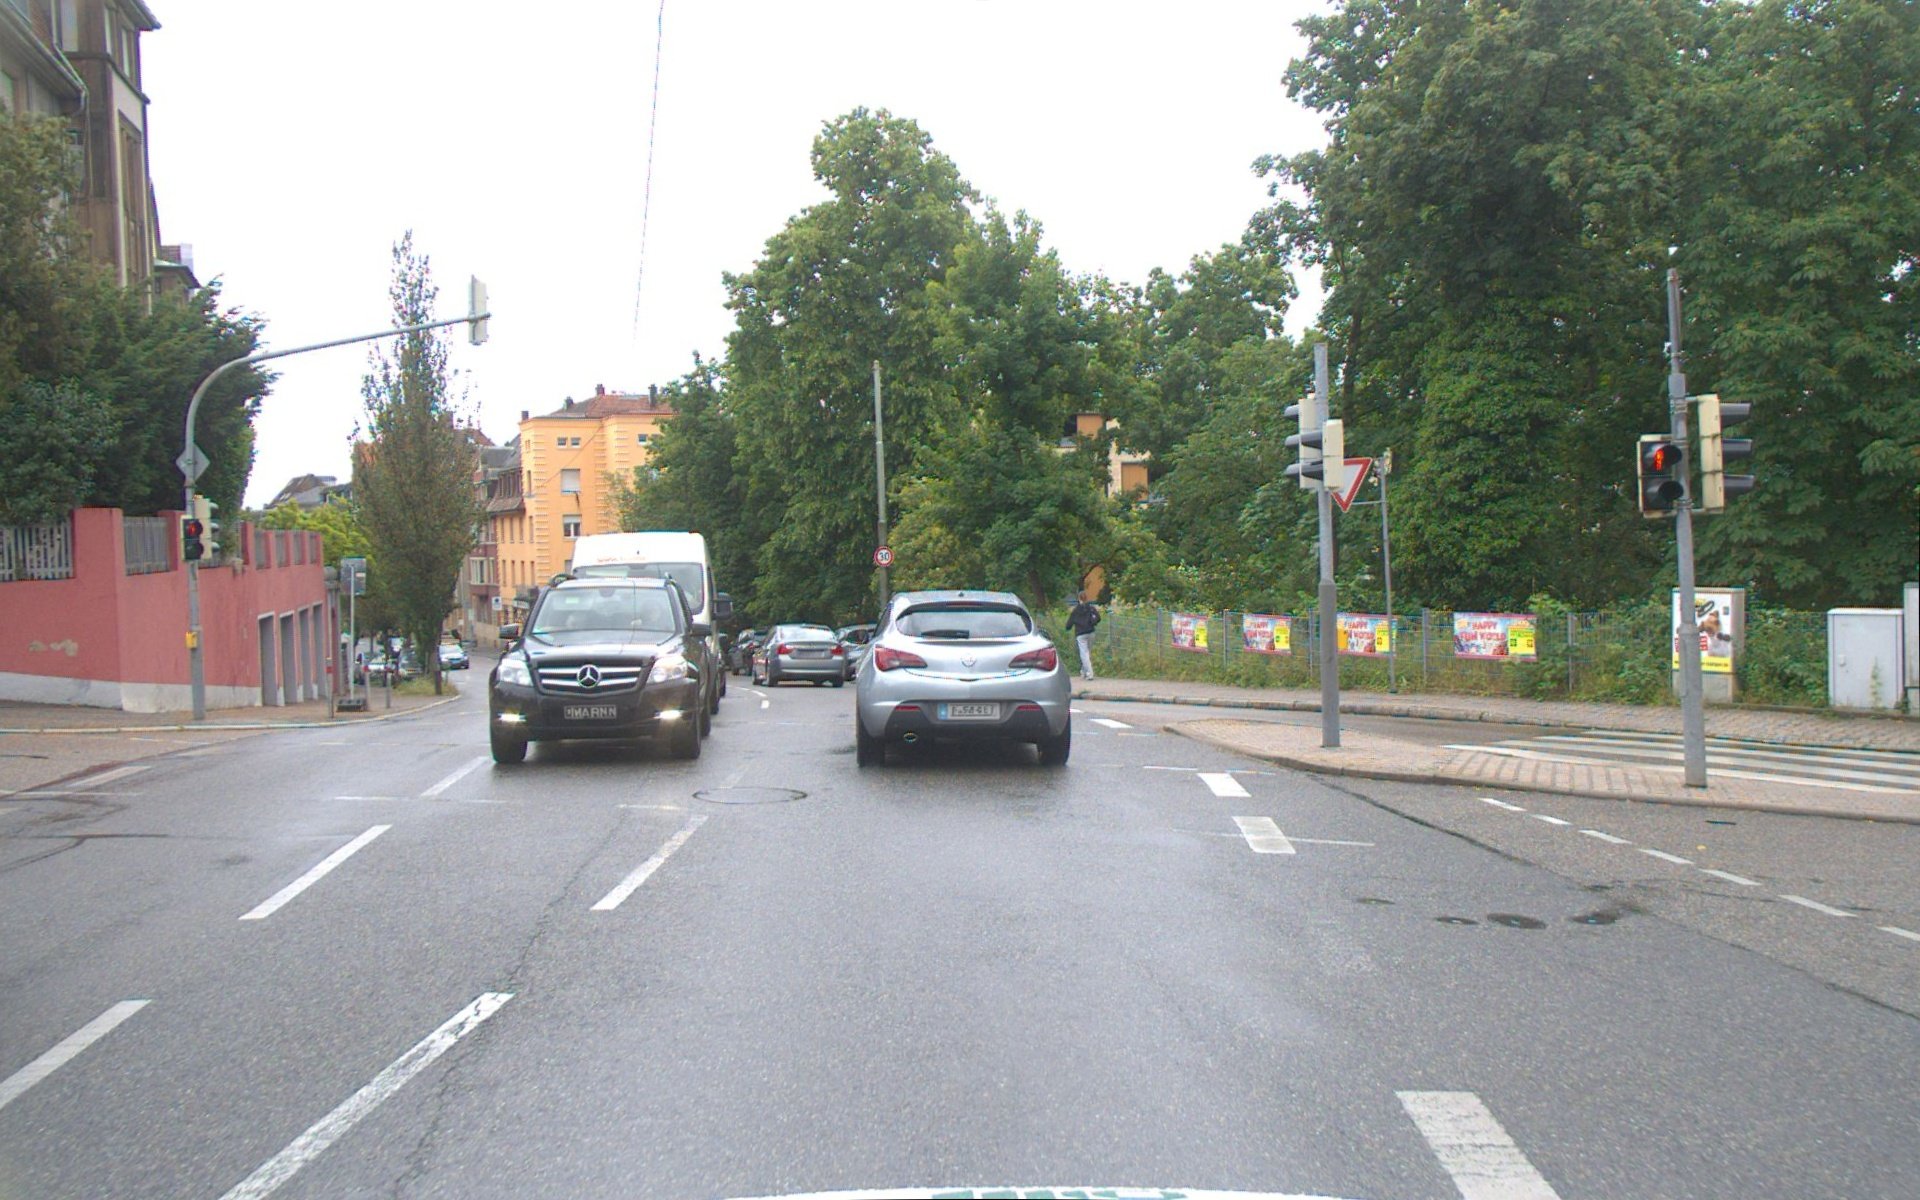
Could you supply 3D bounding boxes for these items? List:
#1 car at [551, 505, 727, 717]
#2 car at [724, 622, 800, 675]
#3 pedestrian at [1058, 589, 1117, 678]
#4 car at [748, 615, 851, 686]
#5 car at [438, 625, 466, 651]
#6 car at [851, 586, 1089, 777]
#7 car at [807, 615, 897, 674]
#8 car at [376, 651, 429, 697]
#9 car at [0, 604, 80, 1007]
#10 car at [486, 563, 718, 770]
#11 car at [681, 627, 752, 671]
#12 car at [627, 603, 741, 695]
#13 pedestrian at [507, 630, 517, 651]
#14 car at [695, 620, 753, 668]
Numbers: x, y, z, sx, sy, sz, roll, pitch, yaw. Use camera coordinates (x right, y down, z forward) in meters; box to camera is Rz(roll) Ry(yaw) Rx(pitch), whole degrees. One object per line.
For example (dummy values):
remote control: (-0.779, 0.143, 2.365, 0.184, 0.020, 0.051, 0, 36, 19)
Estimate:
car: (-4.420, 0.186, 23.592, 2.078, 2.590, 5.529, -2, -1, -8)
car: (-7.337, 1.785, 60.812, 1.794, 1.712, 4.778, -4, 0, -18)
pedestrian: (2.468, 0.647, 32.054, 0.753, 1.633, 0.962, -4, -1, -14)
car: (-3.717, 1.178, 37.857, 1.747, 1.455, 3.770, -3, -2, -14)
car: (-38.714, 2.908, 126.007, 1.756, 1.887, 3.974, -1, -2, -21)
car: (-0.048, 0.644, 15.138, 1.779, 1.455, 3.996, -2, 0, -5)
car: (-3.010, 1.239, 45.500, 1.623, 1.429, 3.795, -4, -1, -16)
car: (-21.141, 2.797, 62.792, 1.786, 1.641, 3.980, -1, -2, -17)
car: (-4.249, 0.836, 4.248, 1.819, 1.512, 5.355, -2, 1, -9)
car: (-3.287, 0.547, 15.912, 1.787, 1.681, 4.339, -1, 0, -7)
car: (-10.411, 2.104, 70.487, 1.948, 1.637, 4.456, -5, -1, -21)
car: (-5.061, 0.871, 29.991, 1.783, 1.455, 3.987, -3, -1, -13)
pedestrian: (-33.805, 3.042, 124.717, 0.605, 1.522, 0.549, -2, 2, -23)
car: (-7.497, 1.381, 52.344, 1.360, 1.436, 3.441, -2, -1, -15)
